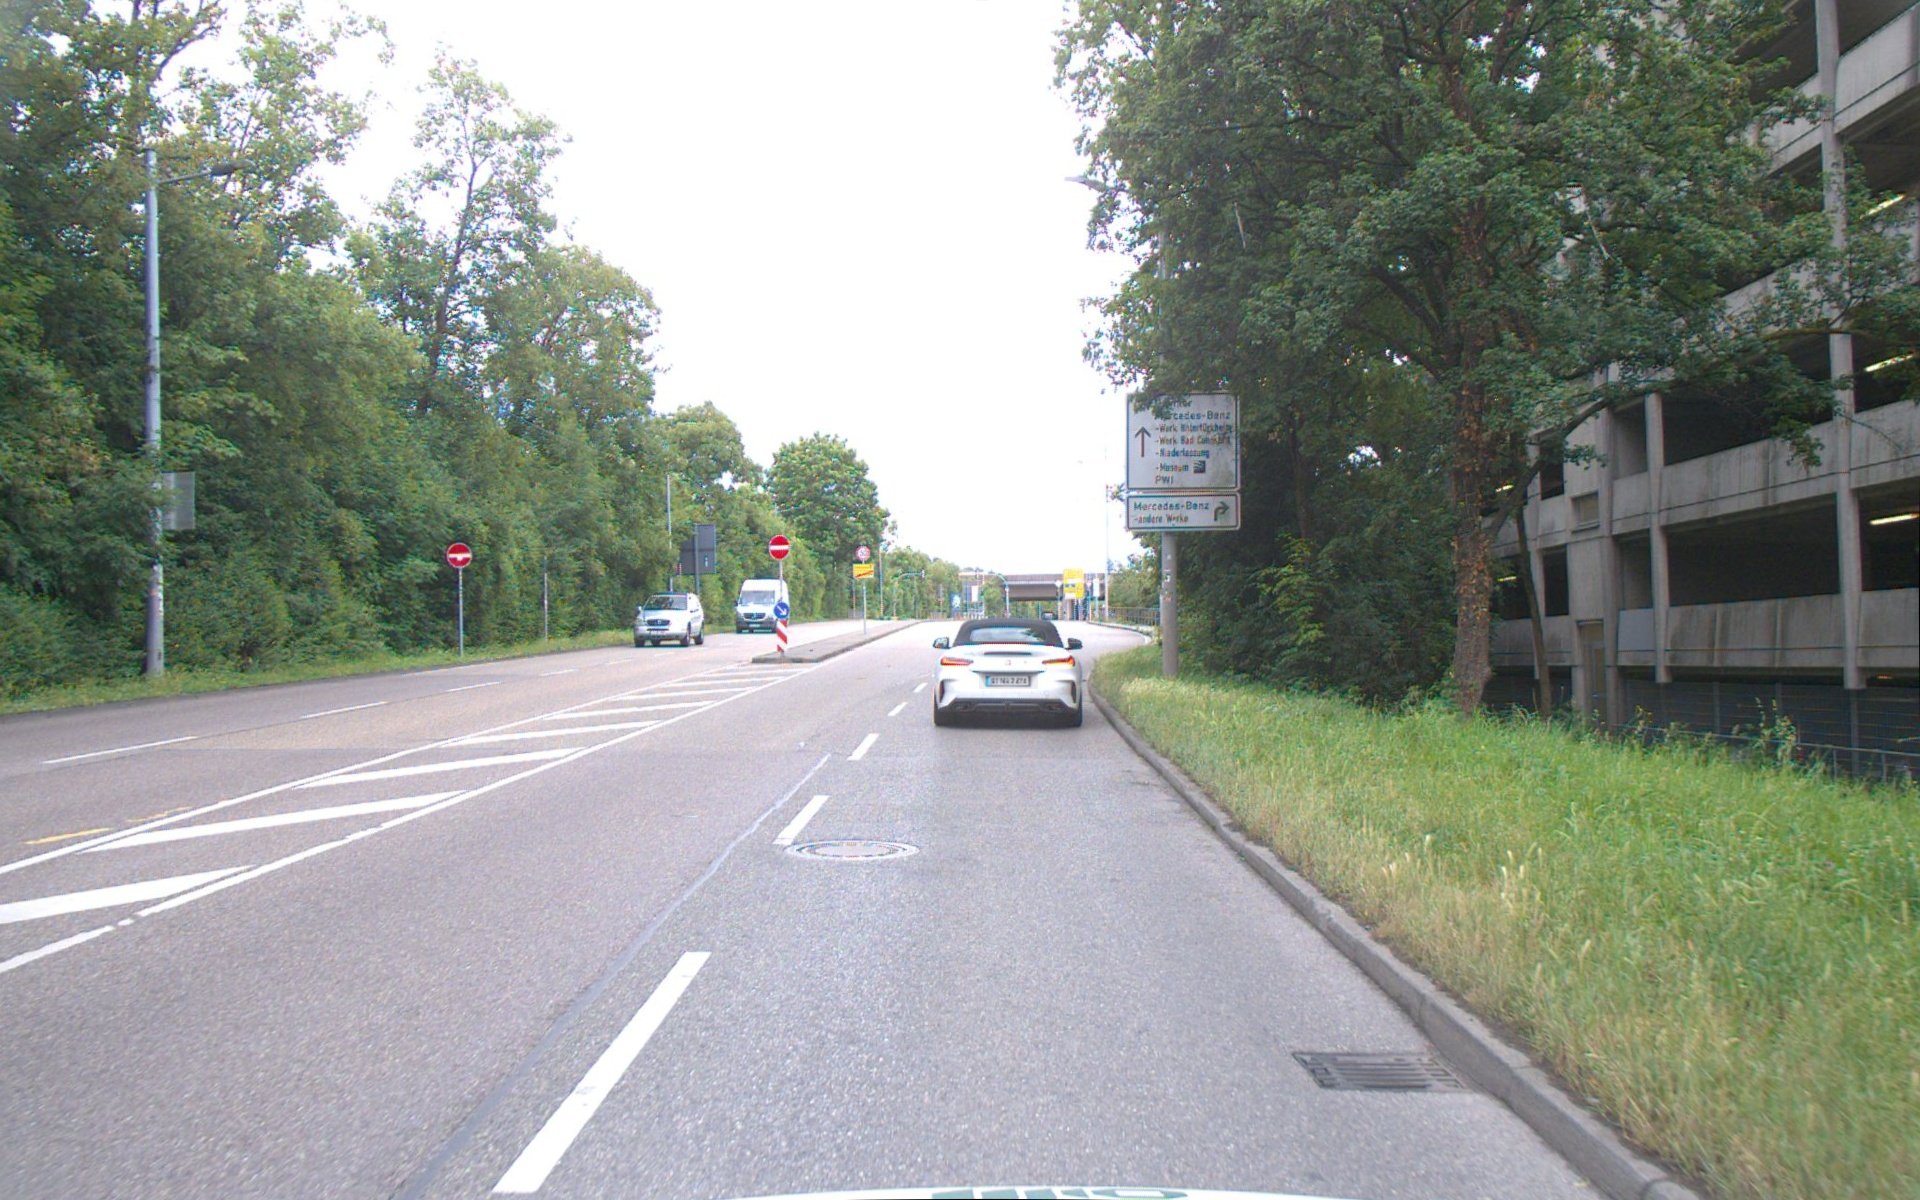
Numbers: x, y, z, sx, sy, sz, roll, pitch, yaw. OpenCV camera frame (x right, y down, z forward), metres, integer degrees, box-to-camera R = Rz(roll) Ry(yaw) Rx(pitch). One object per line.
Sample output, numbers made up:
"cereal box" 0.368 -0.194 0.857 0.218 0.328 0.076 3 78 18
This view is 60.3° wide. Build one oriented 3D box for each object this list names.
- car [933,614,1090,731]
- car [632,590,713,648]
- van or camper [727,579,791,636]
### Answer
"car" 0.619 0.874 21.432 1.836 1.332 3.873 -1 0 0
"car" -9.733 0.621 56.321 1.775 1.862 4.385 -1 1 2
"van or camper" -9.886 0.437 81.798 2.236 2.600 6.858 2 -2 0
